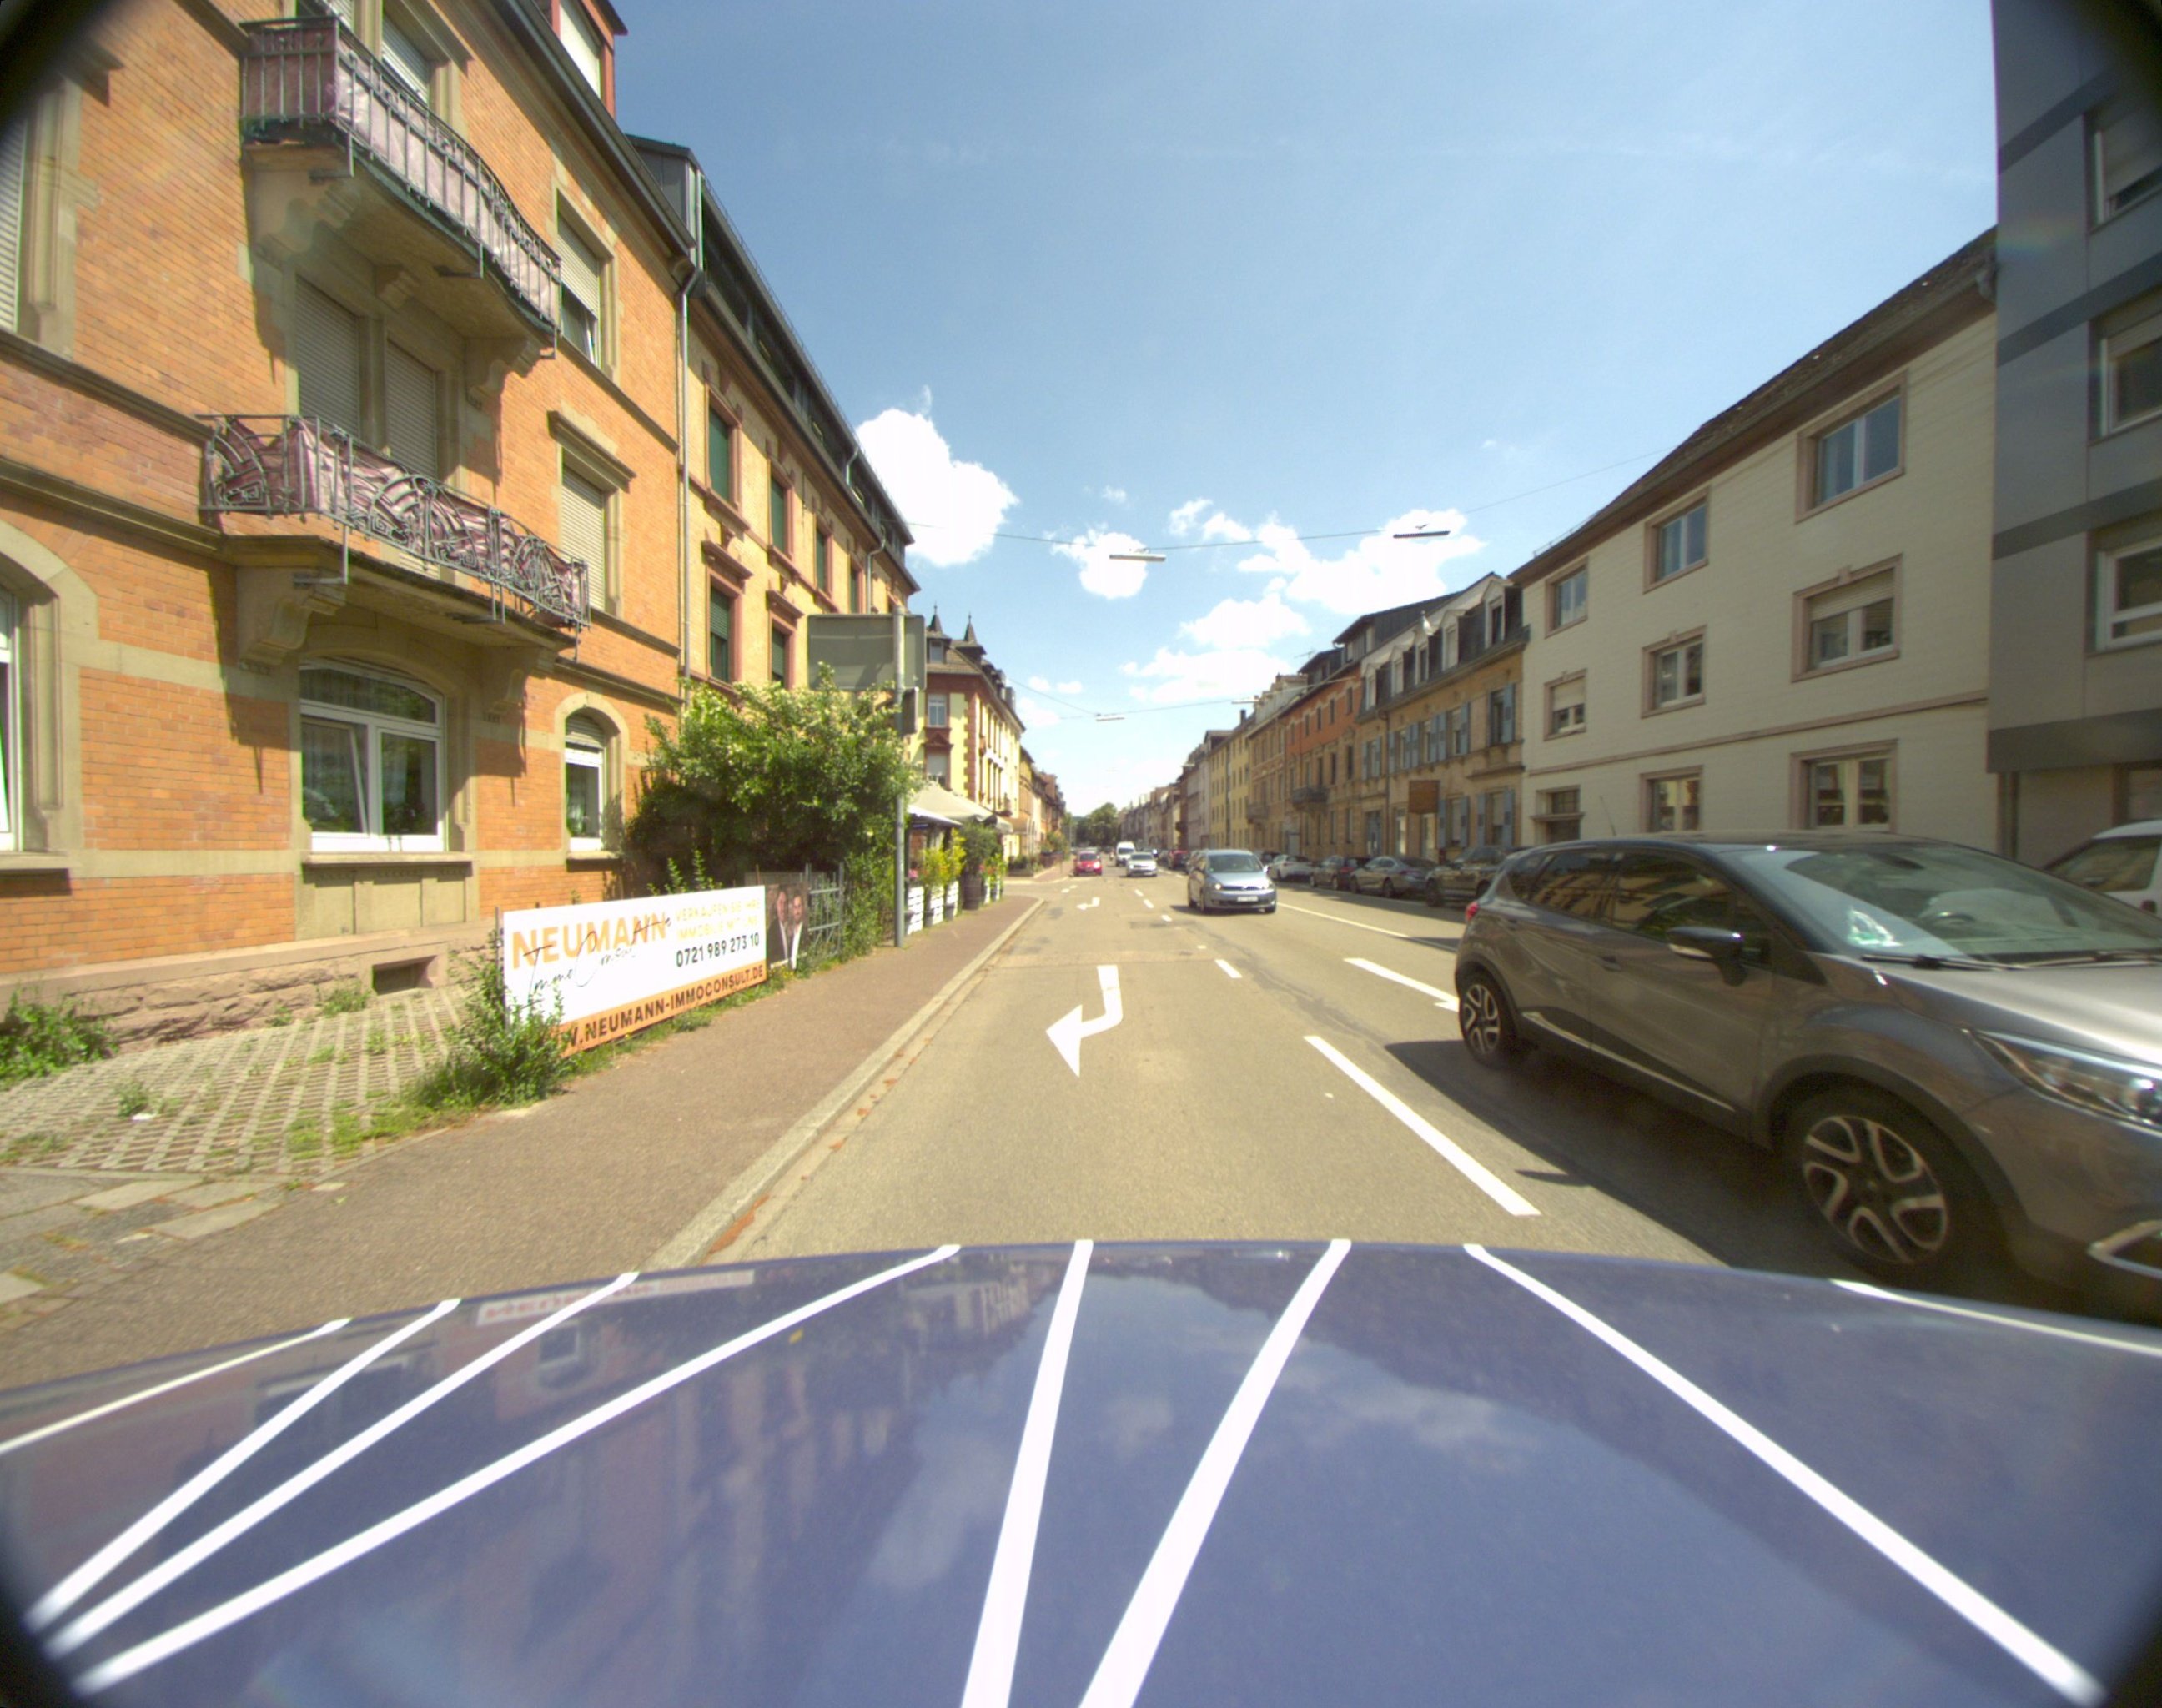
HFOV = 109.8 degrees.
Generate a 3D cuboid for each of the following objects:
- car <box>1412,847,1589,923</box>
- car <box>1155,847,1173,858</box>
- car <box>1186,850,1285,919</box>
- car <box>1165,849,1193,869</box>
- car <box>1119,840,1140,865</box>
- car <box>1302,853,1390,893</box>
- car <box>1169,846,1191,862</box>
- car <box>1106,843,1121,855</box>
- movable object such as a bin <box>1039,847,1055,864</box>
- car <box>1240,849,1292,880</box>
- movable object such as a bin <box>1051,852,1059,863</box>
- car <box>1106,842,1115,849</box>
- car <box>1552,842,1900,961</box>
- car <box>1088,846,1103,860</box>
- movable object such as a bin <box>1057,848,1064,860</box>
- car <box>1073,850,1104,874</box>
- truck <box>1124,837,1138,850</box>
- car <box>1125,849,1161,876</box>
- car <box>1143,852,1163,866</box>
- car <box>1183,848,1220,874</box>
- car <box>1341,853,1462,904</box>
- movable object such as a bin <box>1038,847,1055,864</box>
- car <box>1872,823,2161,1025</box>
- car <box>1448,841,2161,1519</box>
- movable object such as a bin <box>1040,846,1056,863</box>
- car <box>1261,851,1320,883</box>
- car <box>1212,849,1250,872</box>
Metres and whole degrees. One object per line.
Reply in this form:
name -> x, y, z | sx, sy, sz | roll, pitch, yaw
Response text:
car -> 10.423, 0.676, 19.396 | 1.889, 1.631, 4.817 | 1, 1, 1
car -> 11.740, -0.270, 107.695 | 1.749, 1.403, 4.102 | 3, 1, -2
car -> 3.811, 0.685, 19.350 | 1.758, 1.559, 4.000 | -1, 1, 1
car -> 7.702, 0.390, 59.896 | 1.706, 1.469, 4.133 | 0, 1, 1
car -> 4.557, -0.202, 71.986 | 1.904, 2.261, 5.672 | 0, 1, 2
car -> 10.885, 0.739, 31.555 | 1.870, 1.398, 4.329 | 3, 1, -3
car -> 10.923, -0.013, 83.867 | 1.746, 1.579, 3.958 | 4, 1, 16
car -> 4.172, -0.698, 99.168 | 1.904, 1.489, 4.487 | 0, 1, 1
movable object such as a bin -> -2.857, 0.093, 64.138 | 1.285, 1.388, 1.364 | 0, 1, 2
car -> 10.906, 0.562, 45.210 | 1.870, 1.618, 4.499 | 3, 1, -1
movable object such as a bin -> -2.346, 0.300, 68.390 | 0.626, 0.923, 0.612 | 0, 1, 0
car -> 6.442, -1.880, 164.601 | 1.708, 1.470, 3.930 | -2, 1, 0
car -> 10.497, 0.638, 12.995 | 1.890, 1.631, 4.662 | 1, 1, -1
car -> 1.711, -0.107, 89.125 | 1.708, 1.470, 3.930 | -2, 1, 0
movable object such as a bin -> -2.172, 0.037, 79.976 | 0.753, 1.235, 0.877 | 0, 1, 0
car -> 0.462, 0.489, 49.741 | 1.762, 1.470, 3.782 | -2, 1, -2
truck -> 10.298, -2.151, 157.637 | 2.323, 2.725, 8.067 | 0, 1, 0
car -> 3.662, 0.469, 45.550 | 1.904, 1.489, 4.487 | 0, 1, 2
car -> 7.896, 0.493, 83.581 | 1.764, 1.486, 4.245 | 0, 1, 0
car -> 7.650, 0.416, 48.543 | 1.706, 1.565, 4.312 | 0, 1, 1
car -> 10.783, 0.764, 25.993 | 1.870, 1.398, 4.836 | 3, 1, -2
movable object such as a bin -> -2.866, 0.136, 62.722 | 1.285, 1.388, 1.413 | 0, 1, 2
car -> 10.651, 0.643, 6.865 | 1.919, 1.815, 4.787 | 1, 1, -1
car -> 3.529, 0.775, 3.551 | 1.758, 1.622, 4.000 | -1, 0, 1
movable object such as a bin -> -2.801, 0.050, 65.506 | 1.285, 1.402, 1.304 | 0, 1, 2
car -> 10.979, 0.649, 40.092 | 1.869, 1.418, 4.330 | 3, 1, 0
car -> 11.198, 0.430, 56.942 | 1.870, 1.543, 4.499 | 3, 1, -1
